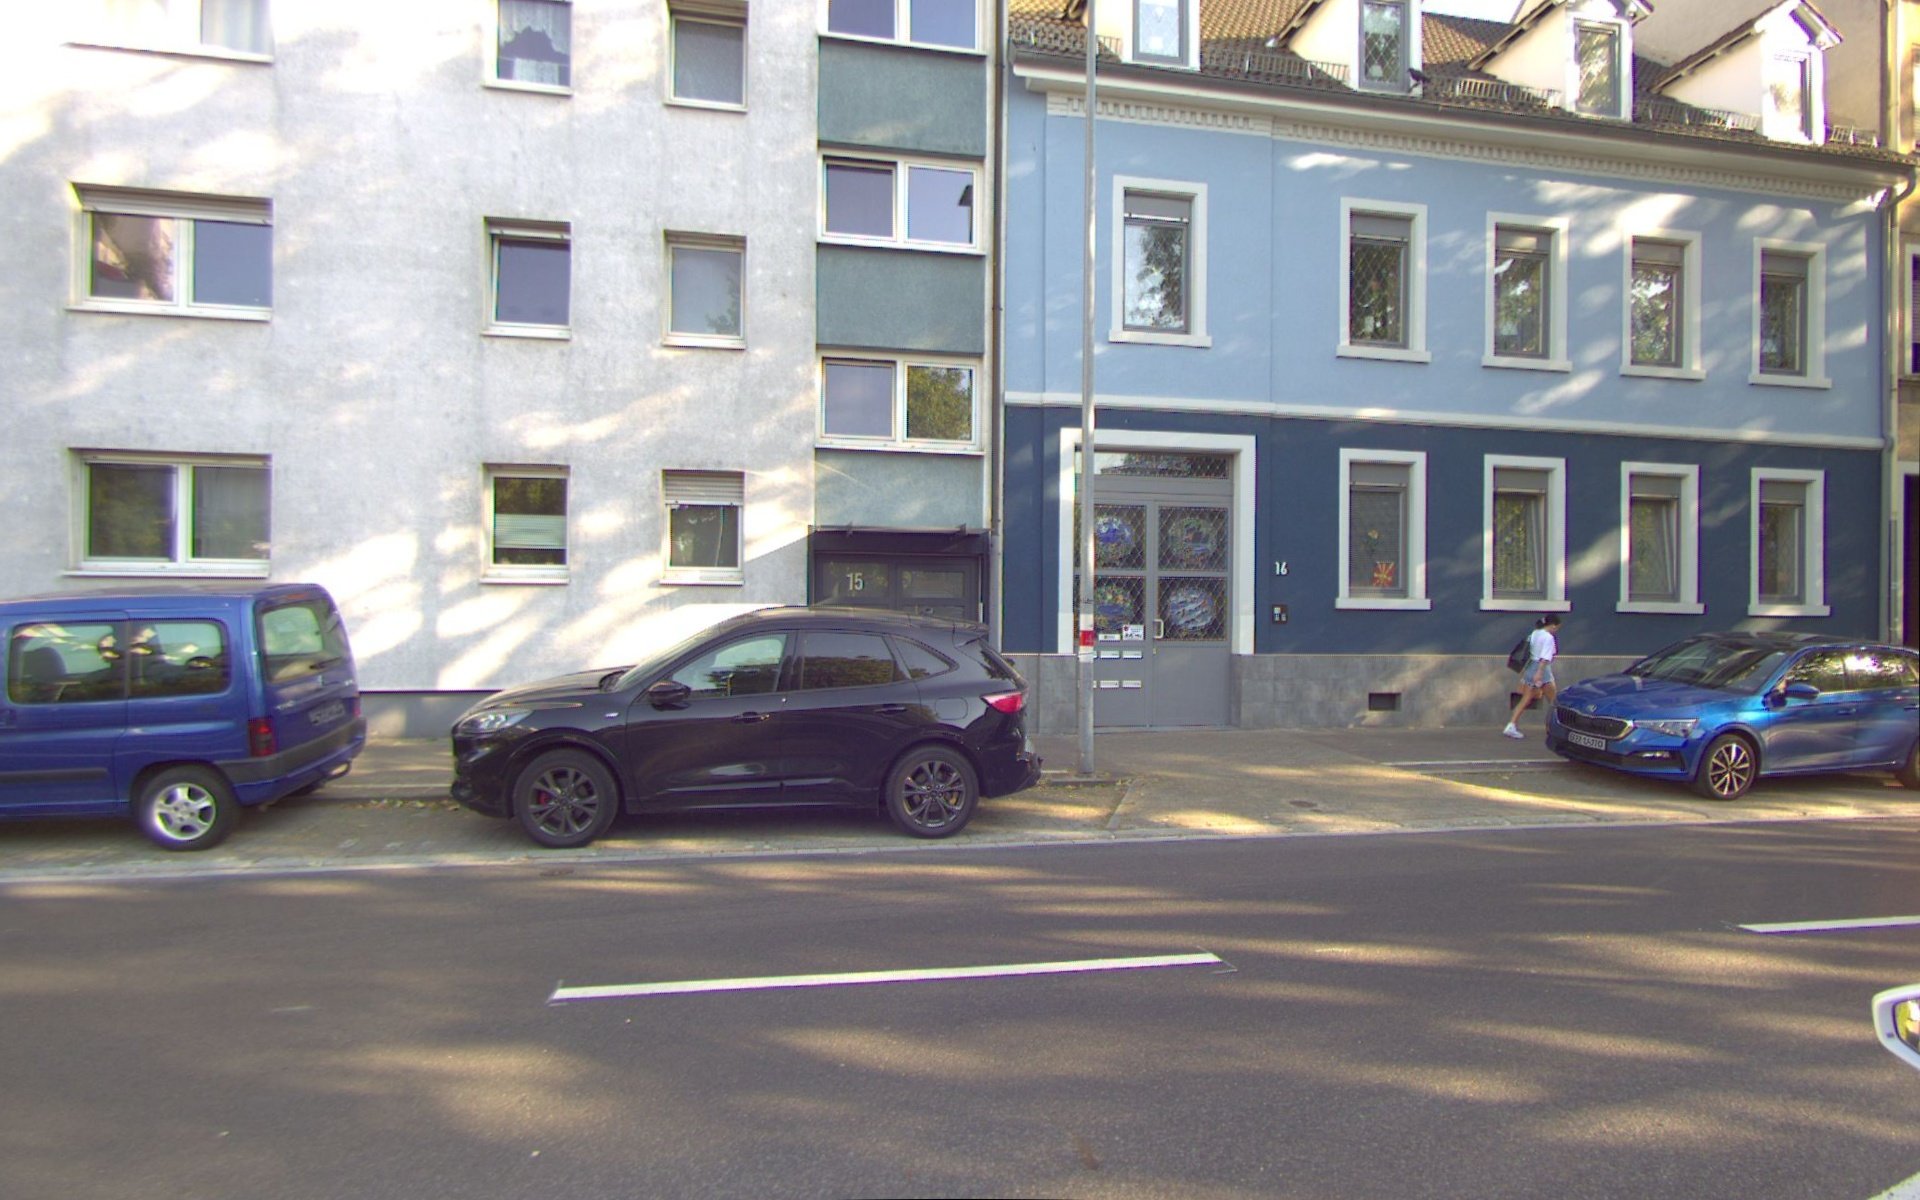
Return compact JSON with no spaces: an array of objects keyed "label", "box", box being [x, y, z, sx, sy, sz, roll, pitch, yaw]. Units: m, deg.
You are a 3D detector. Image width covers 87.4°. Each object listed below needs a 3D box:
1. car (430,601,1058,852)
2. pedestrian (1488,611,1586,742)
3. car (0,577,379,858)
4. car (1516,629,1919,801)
[{"label":"car","box":[-1.582,0.901,8.161,4.409,1.695,1.910,1,1,-8]},{"label":"pedestrian","box":[7.235,0.942,12.618,0.848,1.591,0.706,0,-1,5]},{"label":"car","box":[-6.740,0.761,7.371,3.932,1.843,1.667,1,1,-10]},{"label":"car","box":[8.215,1.099,10.476,4.189,1.506,1.651,1,1,-13]}]
